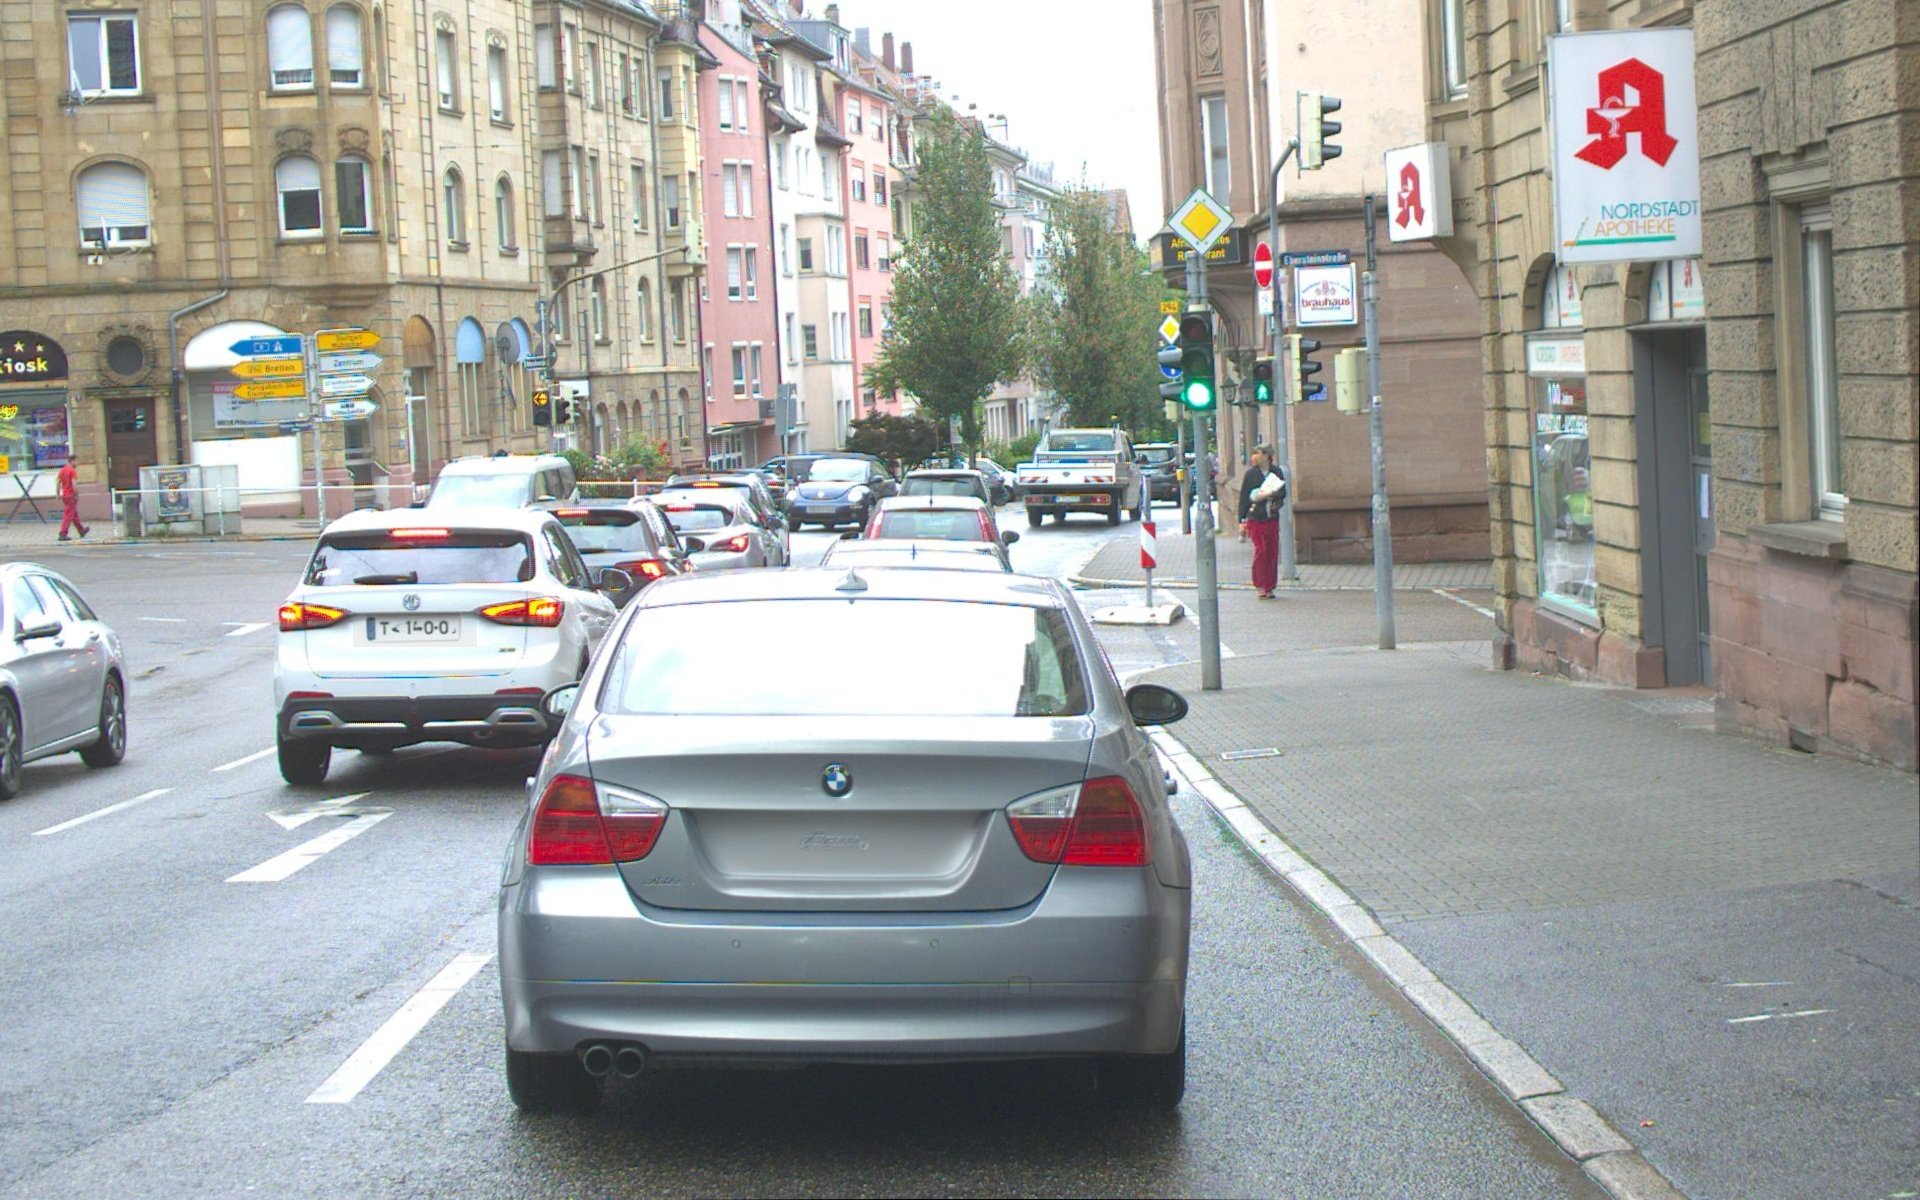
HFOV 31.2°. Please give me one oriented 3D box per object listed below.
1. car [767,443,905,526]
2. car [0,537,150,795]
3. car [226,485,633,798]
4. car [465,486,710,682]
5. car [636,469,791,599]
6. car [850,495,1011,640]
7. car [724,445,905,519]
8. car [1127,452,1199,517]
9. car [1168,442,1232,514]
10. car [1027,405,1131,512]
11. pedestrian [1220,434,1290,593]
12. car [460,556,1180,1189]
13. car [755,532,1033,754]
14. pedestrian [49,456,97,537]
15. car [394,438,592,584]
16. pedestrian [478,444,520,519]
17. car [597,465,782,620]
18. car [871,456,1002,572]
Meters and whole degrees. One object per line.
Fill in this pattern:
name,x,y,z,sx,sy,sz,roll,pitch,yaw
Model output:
car,-2.442,-2.294,68.766,1.845,1.535,3.998,1,1,12
car,-6.661,0.429,22.191,1.737,1.521,4.472,-4,1,-1
car,-3.180,0.167,21.391,1.868,1.620,4.001,-2,3,0
car,-3.397,-0.192,32.038,1.759,1.702,4.000,0,2,1
car,-3.361,-0.921,47.415,1.759,1.702,4.000,0,2,1
car,-0.273,-0.381,36.856,1.595,1.459,4.000,0,2,1
car,-4.240,-3.460,100.969,5.176,2.007,2.699,1,1,0
car,5.265,-2.987,89.390,1.725,1.547,4.000,1,1,2
car,7.126,-3.599,101.744,1.725,2.007,3.999,1,1,6
car,2.405,-2.854,70.284,1.993,2.099,4.000,0,1,0
pedestrian,3.580,-1.053,41.774,0.742,1.903,0.659,-2,1,-1
car,-0.282,0.598,9.602,1.623,1.378,3.615,0,2,1
car,-0.382,0.236,23.900,1.759,1.378,4.000,0,2,1
pedestrian,-17.651,-2.063,68.437,0.537,1.572,0.718,-1,1,27
car,-6.515,-1.262,48.420,1.762,1.919,4.323,-1,2,6
pedestrian,-9.745,-2.499,72.661,0.732,1.572,0.528,-1,1,9
car,-3.100,-0.690,40.125,1.759,1.702,4.000,0,2,1
car,-0.297,-1.233,48.982,1.759,1.562,4.000,-1,2,1
